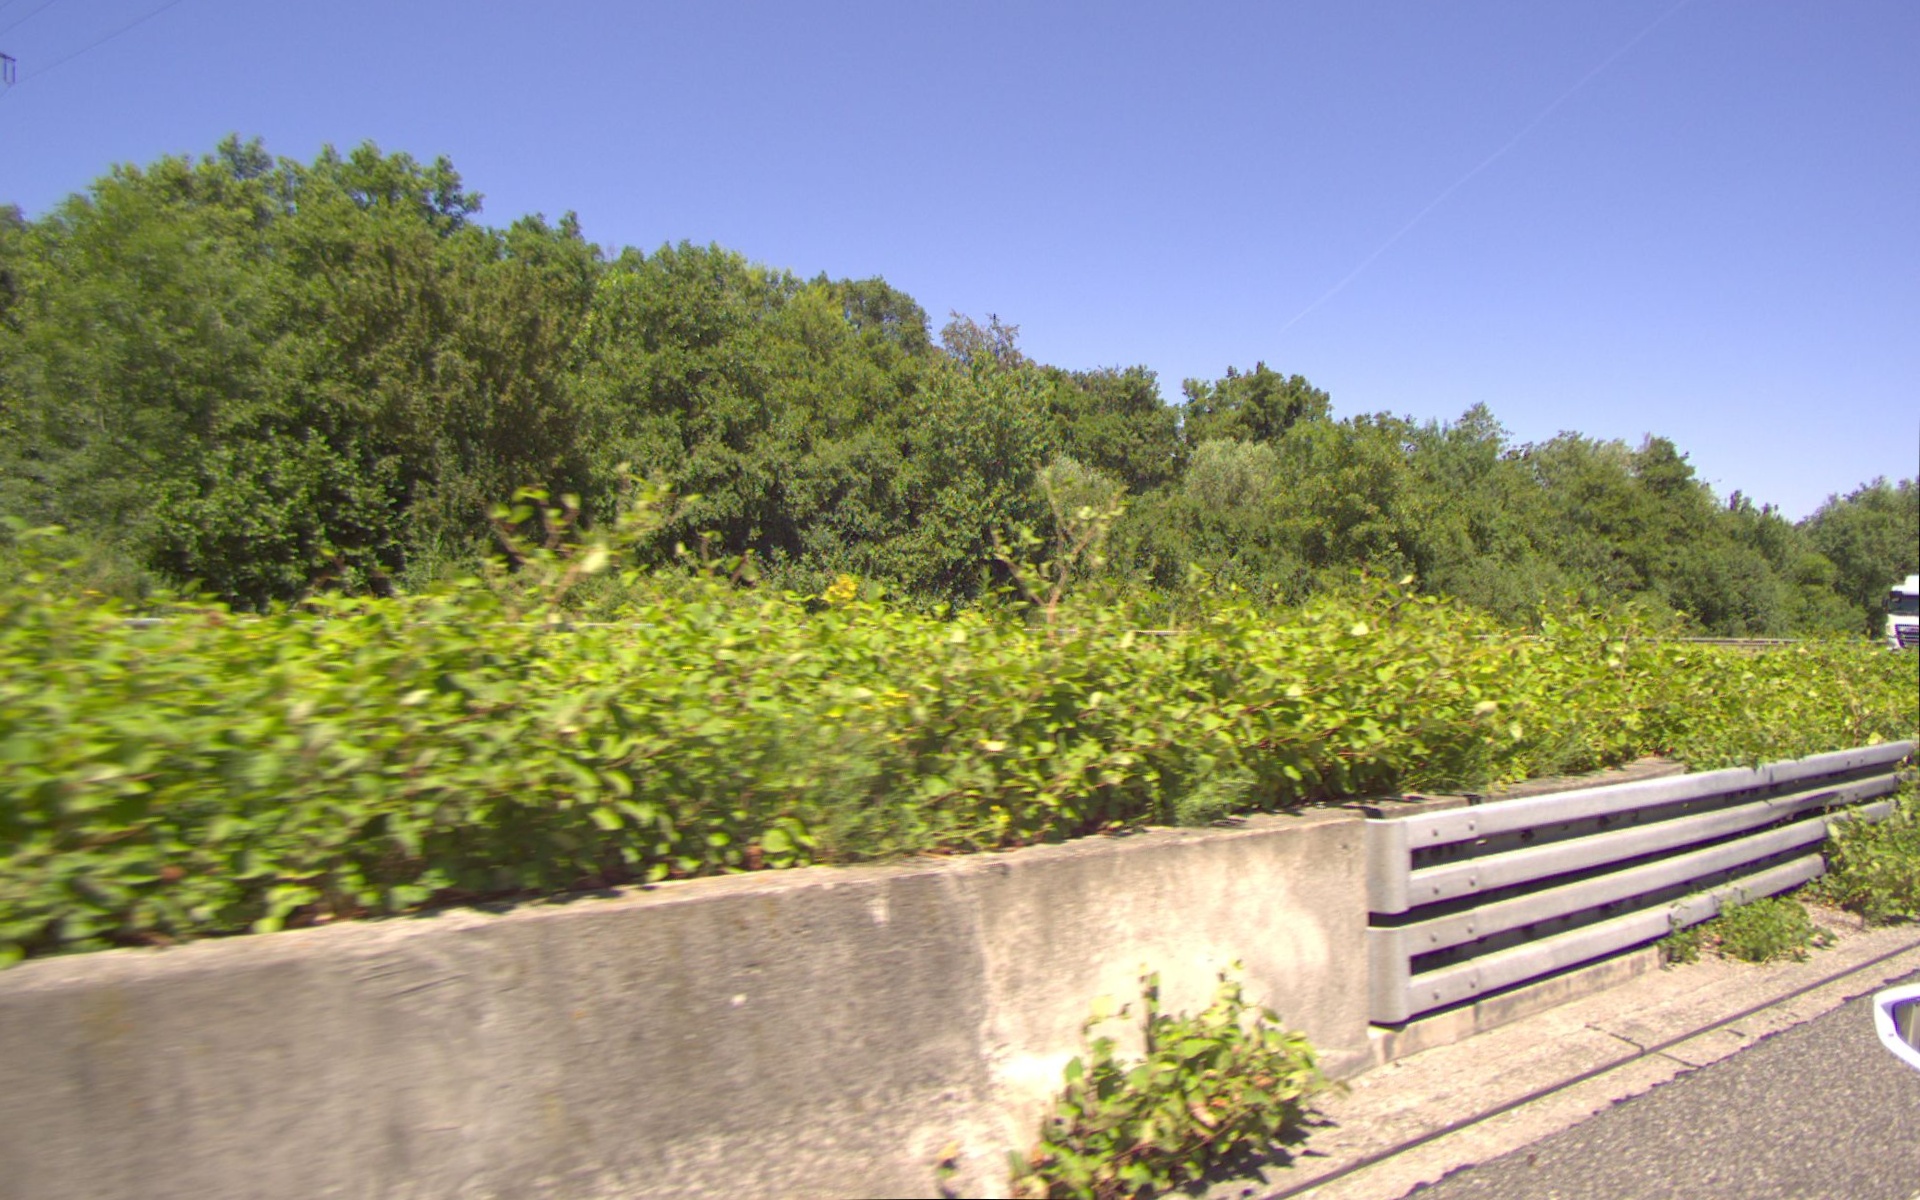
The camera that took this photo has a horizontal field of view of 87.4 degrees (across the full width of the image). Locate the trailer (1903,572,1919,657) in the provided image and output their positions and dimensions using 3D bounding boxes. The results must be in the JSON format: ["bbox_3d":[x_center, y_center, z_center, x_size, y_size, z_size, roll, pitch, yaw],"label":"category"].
[{"bbox_3d":[51.637,0.855,50.719,13.515,4.019,2.655,2,0,-33],"label":"trailer"}]

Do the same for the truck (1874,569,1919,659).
[{"bbox_3d":[45.347,0.696,46.676,6.484,4.038,2.645,1,0,-33],"label":"truck"}]
